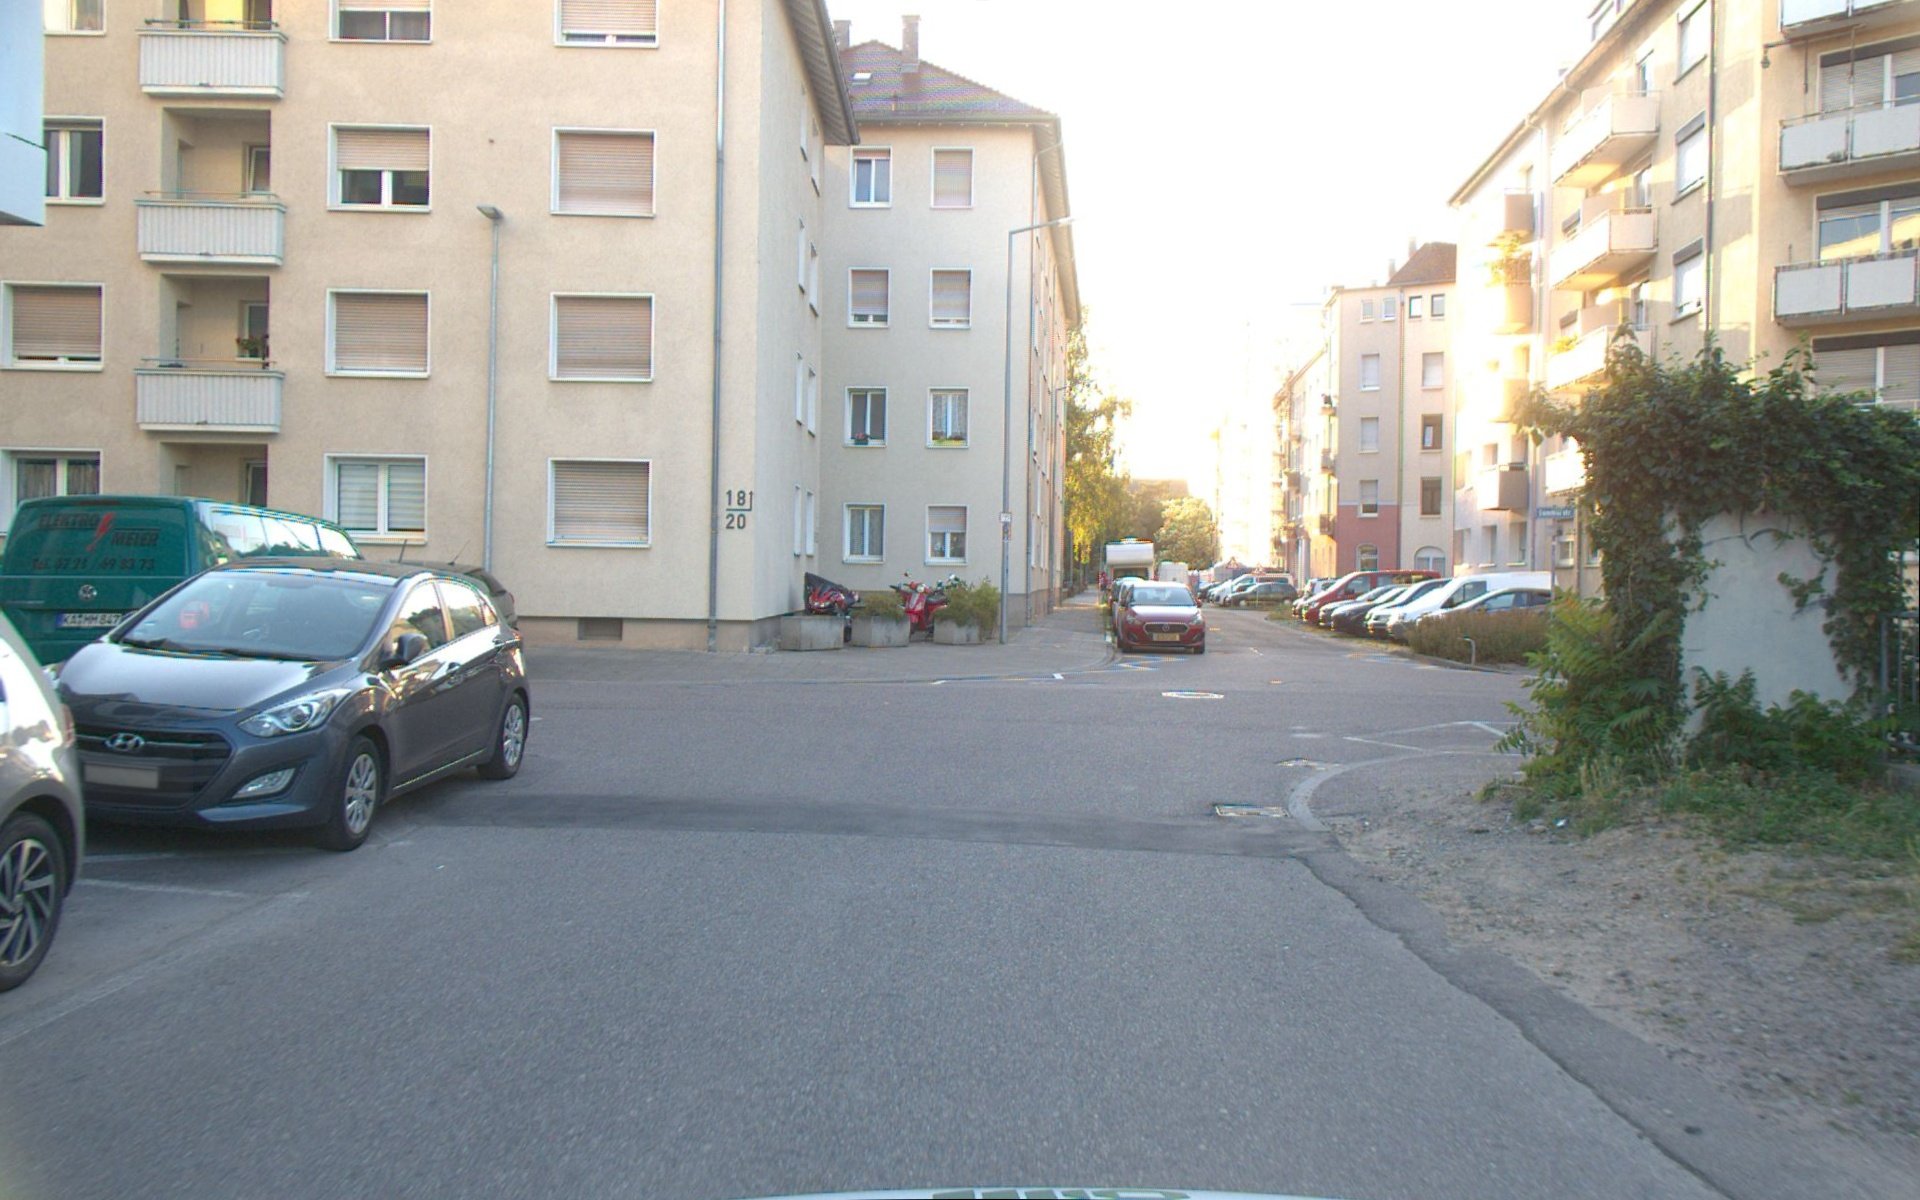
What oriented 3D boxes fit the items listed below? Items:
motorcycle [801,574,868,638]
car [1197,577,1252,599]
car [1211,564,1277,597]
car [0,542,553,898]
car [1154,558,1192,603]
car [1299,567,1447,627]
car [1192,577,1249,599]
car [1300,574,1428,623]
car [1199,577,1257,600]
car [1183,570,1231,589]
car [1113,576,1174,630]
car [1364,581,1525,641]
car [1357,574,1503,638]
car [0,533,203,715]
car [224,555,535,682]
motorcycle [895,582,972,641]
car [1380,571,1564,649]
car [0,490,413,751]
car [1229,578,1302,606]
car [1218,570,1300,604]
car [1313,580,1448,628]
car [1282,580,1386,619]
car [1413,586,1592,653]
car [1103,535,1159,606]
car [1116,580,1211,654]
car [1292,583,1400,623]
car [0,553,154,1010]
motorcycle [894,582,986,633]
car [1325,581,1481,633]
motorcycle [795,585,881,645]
[{"bbox_3d":[-2.583,0.109,34.298,0.708,1.286,2.082,1,1,15],"label":"motorcycle"},{"bbox_3d":[19.404,-0.902,121.450,3.903,1.557,1.660,0,1,4],"label":"car"},{"bbox_3d":[18.166,-1.270,105.881,3.904,2.049,2.000,1,1,1],"label":"car"},{"bbox_3d":[-3.913,0.507,9.742,1.743,1.504,4.332,4,1,2],"label":"car"},{"bbox_3d":[13.497,-1.238,105.049,2.084,2.764,4.836,-1,1,4],"label":"car"},{"bbox_3d":[14.075,-0.107,56.629,4.622,1.943,2.060,-1,0,4],"label":"car"},{"bbox_3d":[18.812,-0.868,119.529,3.903,1.557,1.660,0,1,4],"label":"car"},{"bbox_3d":[14.473,-0.060,59.441,4.233,1.666,1.819,-1,0,4],"label":"car"},{"bbox_3d":[18.876,-0.827,116.765,3.903,1.557,1.660,0,1,4],"label":"car"},{"bbox_3d":[21.207,-1.773,142.095,3.903,1.557,1.660,0,1,4],"label":"car"},{"bbox_3d":[5.279,0.060,47.900,1.582,1.499,3.506,-1,1,4],"label":"car"},{"bbox_3d":[12.940,0.283,44.336,3.872,1.548,1.707,0,1,5],"label":"car"},{"bbox_3d":[13.204,0.153,46.598,3.710,1.725,1.656,-1,0,5],"label":"car"},{"bbox_3d":[-9.184,0.218,15.814,1.743,1.577,4.331,1,-1,2],"label":"car"},{"bbox_3d":[-8.533,0.241,24.594,3.924,1.645,1.882,1,5,0],"label":"car"},{"bbox_3d":[-0.537,0.223,34.368,0.675,1.180,2.030,1,1,29],"label":"motorcycle"},{"bbox_3d":[12.983,0.240,42.138,4.189,1.893,1.742,1,0,5],"label":"car"},{"bbox_3d":[-6.760,0.093,15.240,1.760,2.014,4.691,1,2,1],"label":"car"},{"bbox_3d":[17.129,-0.464,92.850,3.903,1.557,1.660,0,1,4],"label":"car"},{"bbox_3d":[18.003,-0.794,99.787,4.711,2.002,1.740,0,1,4],"label":"car"},{"bbox_3d":[13.692,0.129,54.036,4.057,1.496,1.637,-1,0,4],"label":"car"},{"bbox_3d":[14.524,-0.022,64.360,3.731,1.453,1.635,-1,0,4],"label":"car"},{"bbox_3d":[12.978,0.449,39.741,3.790,1.518,1.743,1,1,5],"label":"car"},{"bbox_3d":[8.389,-1.434,81.365,2.564,3.326,7.702,-1,1,5],"label":"car"},{"bbox_3d":[4.414,0.326,36.290,1.806,1.499,4.080,1,1,3],"label":"car"},{"bbox_3d":[14.393,0.107,61.845,3.731,1.453,1.635,-1,0,4],"label":"car"},{"bbox_3d":[-4.001,0.592,4.343,1.676,1.504,4.184,4,1,-1],"label":"car"},{"bbox_3d":[-0.478,0.169,38.916,2.079,1.124,0.560,1,1,17],"label":"motorcycle"},{"bbox_3d":[13.009,0.202,48.742,4.217,1.475,1.656,-1,0,5],"label":"car"},{"bbox_3d":[-2.342,0.275,32.002,0.709,1.098,2.079,1,1,25],"label":"motorcycle"}]
